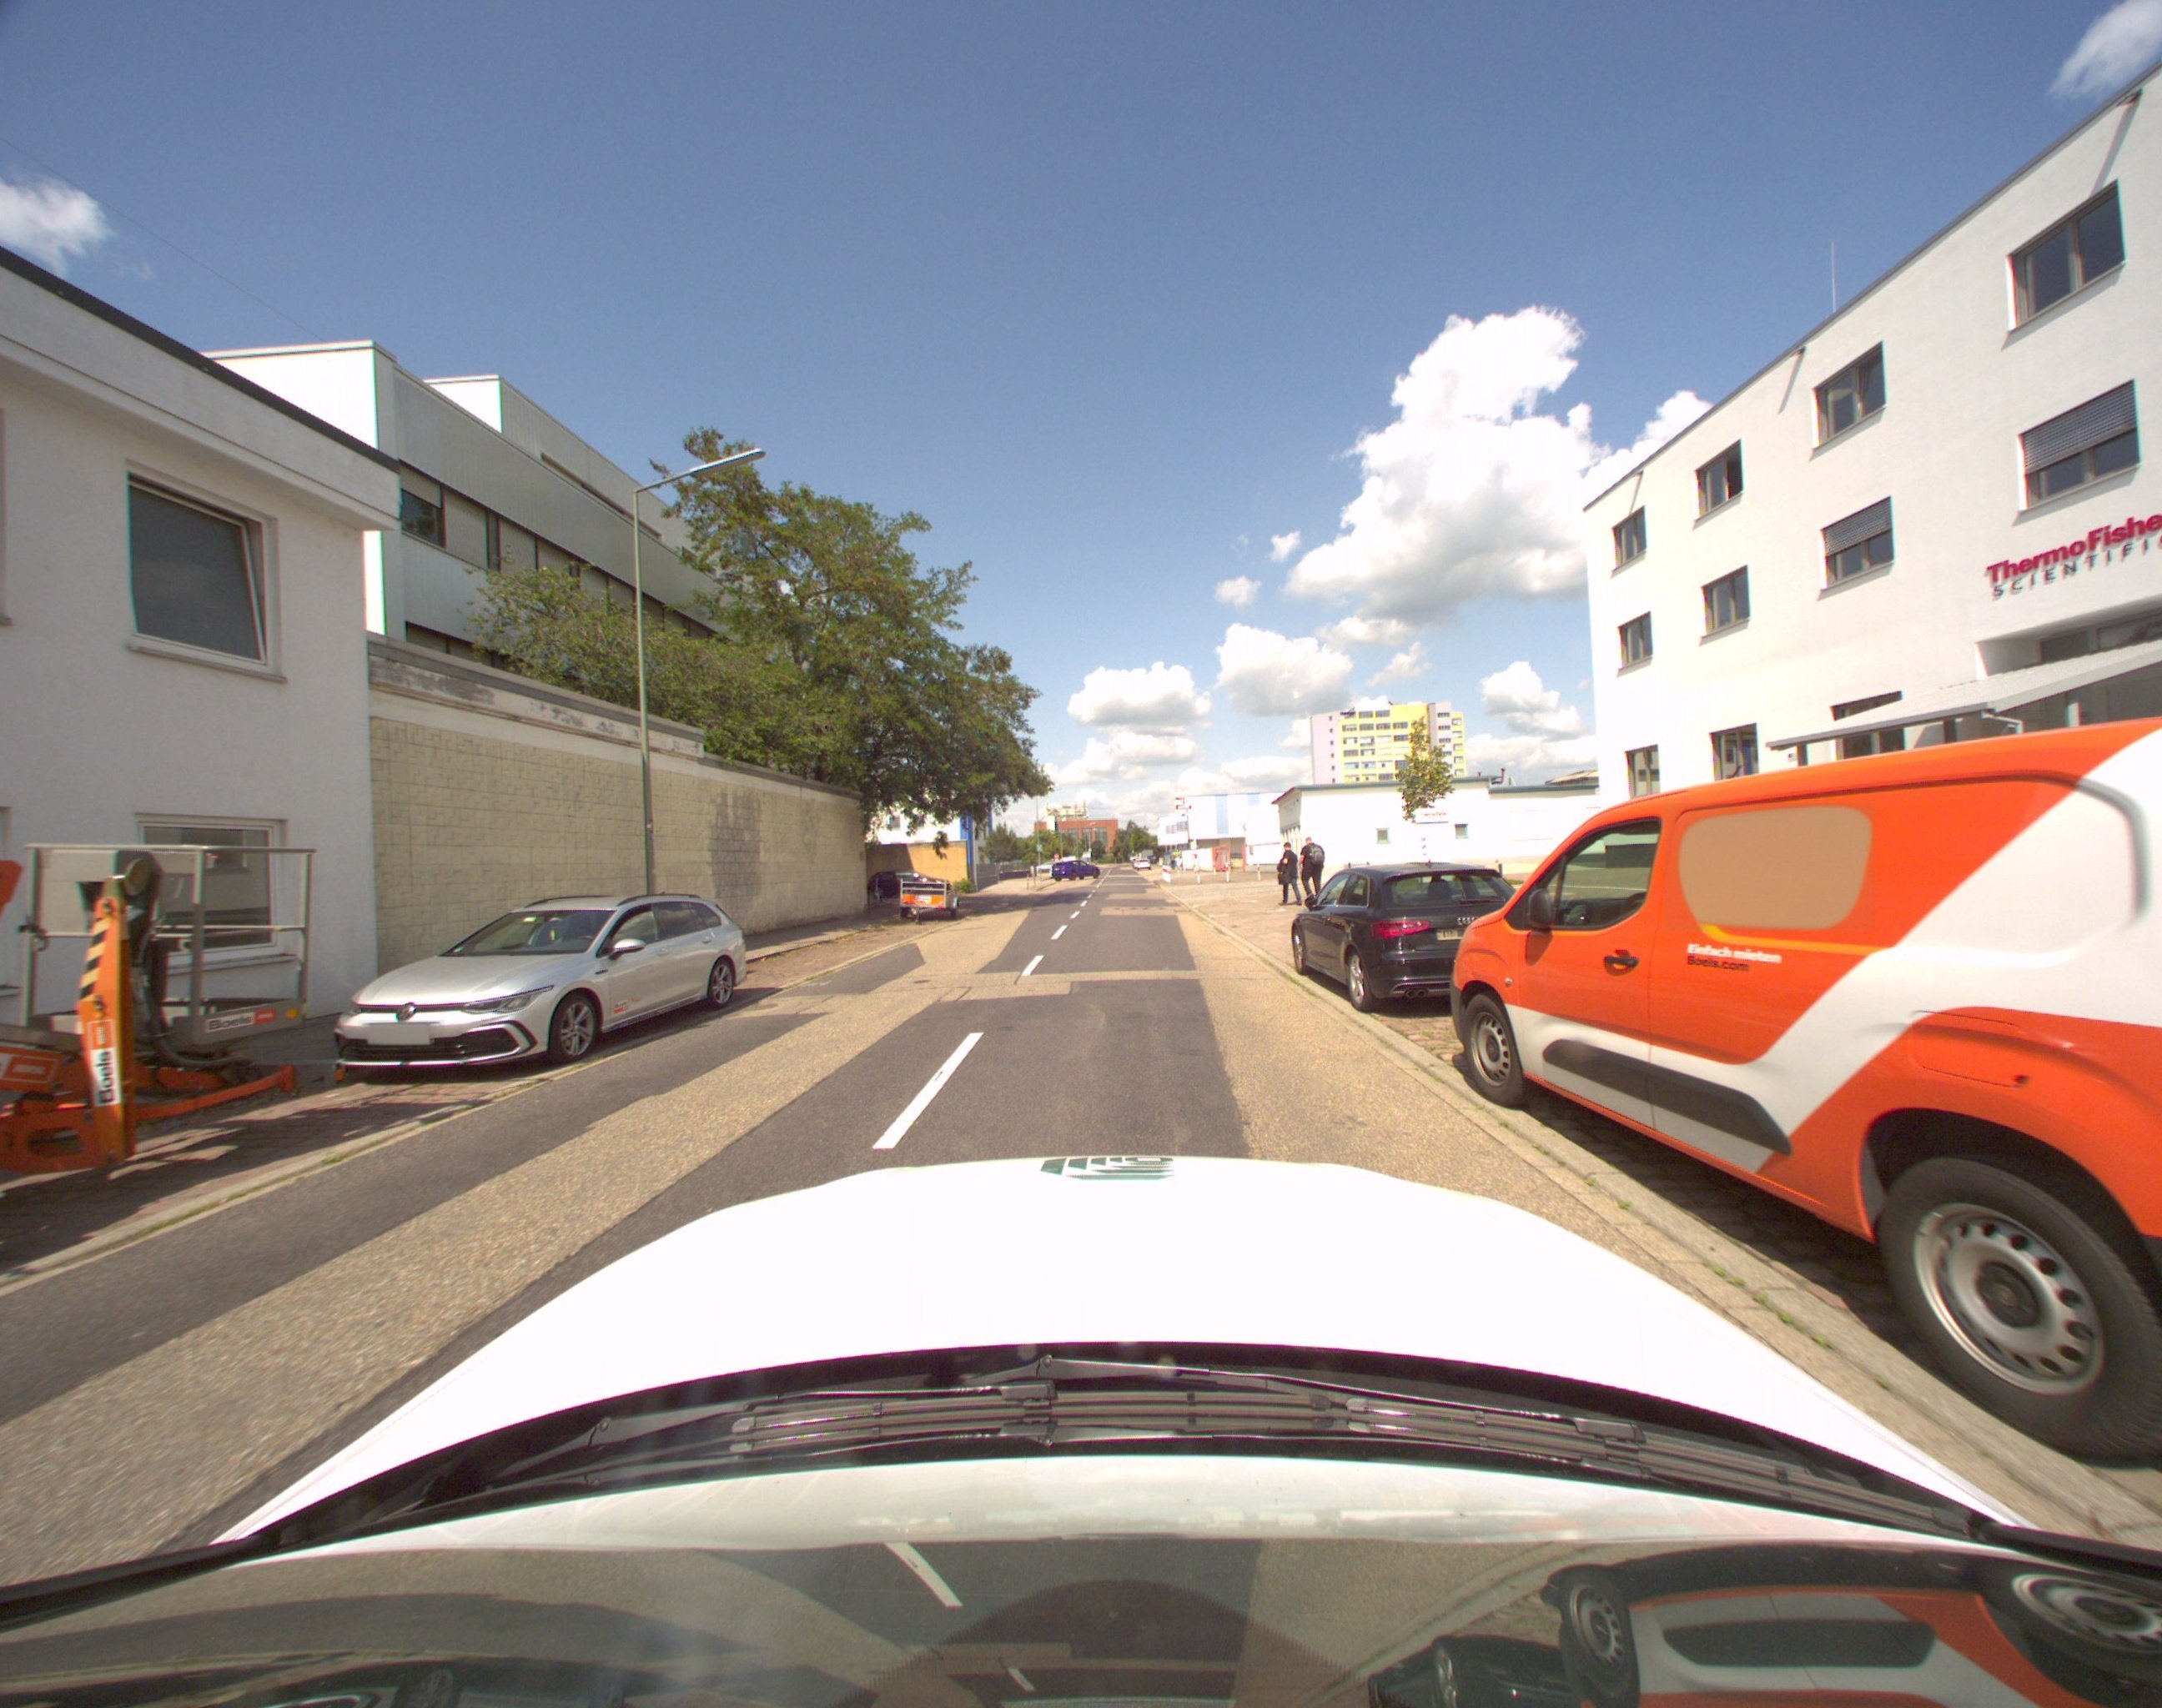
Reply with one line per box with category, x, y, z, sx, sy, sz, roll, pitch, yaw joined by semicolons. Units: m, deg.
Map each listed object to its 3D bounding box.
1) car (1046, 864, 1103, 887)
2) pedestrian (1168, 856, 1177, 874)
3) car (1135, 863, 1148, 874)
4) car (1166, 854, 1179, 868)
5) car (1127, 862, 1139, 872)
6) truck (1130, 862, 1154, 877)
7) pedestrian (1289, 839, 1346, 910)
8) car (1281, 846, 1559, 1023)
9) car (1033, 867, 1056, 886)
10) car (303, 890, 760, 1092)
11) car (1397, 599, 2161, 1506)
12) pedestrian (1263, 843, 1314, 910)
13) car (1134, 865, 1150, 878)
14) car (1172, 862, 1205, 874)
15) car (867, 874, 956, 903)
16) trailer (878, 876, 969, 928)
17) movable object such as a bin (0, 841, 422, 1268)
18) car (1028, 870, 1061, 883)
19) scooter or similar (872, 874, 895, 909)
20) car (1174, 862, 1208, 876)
car;-0.497;1.789;68.317;1.892;1.593;4.729;-5;-1;45
pedestrian;9.573;1.169;85.436;0.766;1.756;0.787;-5;-1;2
car;8.850;2.139;119.445;1.828;1.520;4.463;-2;-1;2
car;17.476;1.362;155.758;1.916;2.464;5.263;-2;-1;3
car;8.843;2.251;138.243;1.747;1.651;4.683;-2;-1;5
truck;16.898;4.237;224.395;2.298;3.567;9.427;-1;0;33
pedestrian;6.770;0.583;23.352;0.993;1.952;1.084;-3;-1;-20
car;3.501;0.745;9.290;1.652;1.558;4.181;0;-1;3
car;-3.570;2.208;80.245;1.860;1.708;4.755;-2;-1;2
car;-5.270;1.191;8.734;1.666;1.455;4.516;-1;-1;3
car;3.229;0.467;3.751;1.865;1.892;4.452;2;-1;1
pedestrian;5.837;0.632;22.949;0.859;1.807;0.998;-3;-1;-20
car;7.933;2.286;106.553;1.860;1.520;4.600;-2;-1;2
car;14.805;1.891;112.480;4.262;1.420;2.001;-3;-1;3
car;-8.478;1.717;40.981;3.973;1.362;1.797;-1;-1;5
trailer;-4.737;1.405;25.147;1.760;1.439;4.338;0;-1;3
movable object such as a bin;-5.668;0.885;3.308;1.607;1.919;5.140;1;-1;2
car;-5.307;3.312;118.952;4.741;1.602;1.999;-4;-1;-1
scooter or similar;-7.524;1.426;31.105;0.480;1.279;1.361;0;-1;3
car;13.878;1.896;102.959;3.970;1.420;2.001;-3;-1;3
